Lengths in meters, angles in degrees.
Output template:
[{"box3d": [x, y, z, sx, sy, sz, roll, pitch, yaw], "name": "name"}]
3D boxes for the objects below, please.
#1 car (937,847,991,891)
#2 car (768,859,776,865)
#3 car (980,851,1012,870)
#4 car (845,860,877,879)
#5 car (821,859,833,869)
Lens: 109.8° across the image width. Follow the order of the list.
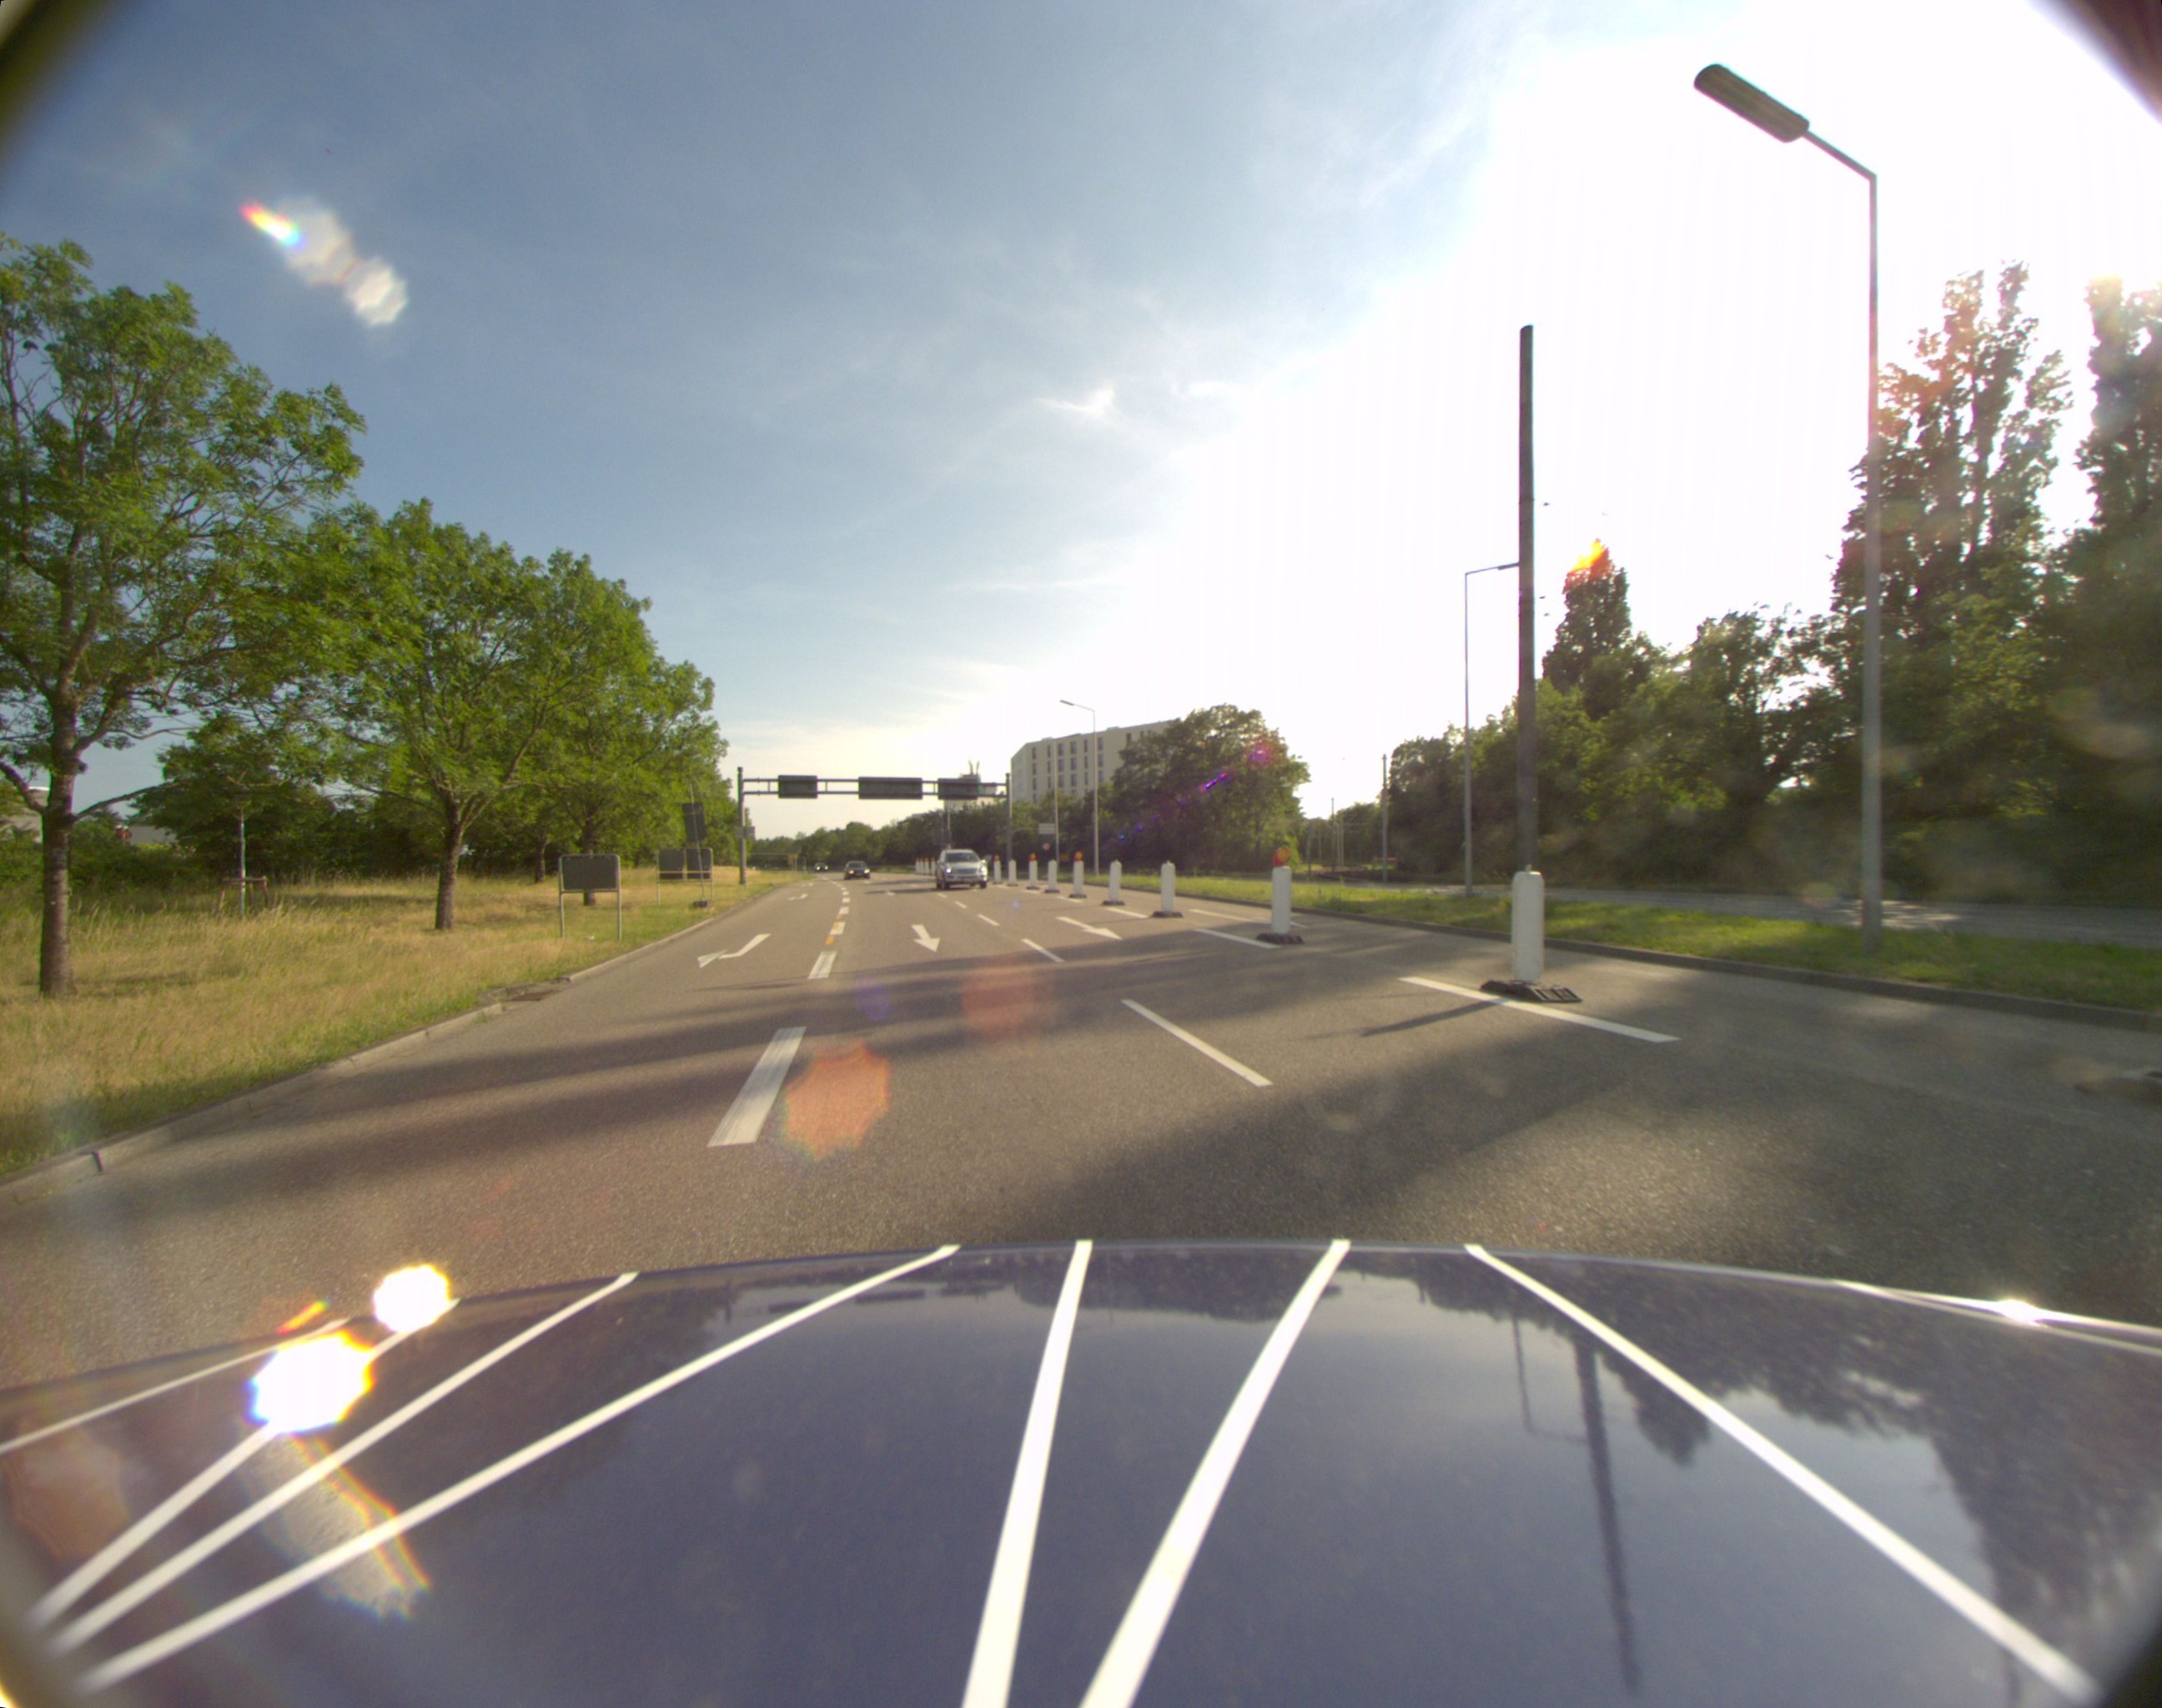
[{"box3d": [-5.495, 0.647, 35.244, 1.903, 1.813, 4.349, -3, 1, -16], "name": "car"}, {"box3d": [-93.785, 2.338, 230.773, 1.793, 1.796, 4.114, -1, 0, -29], "name": "car"}, {"box3d": [-9.545, 0.719, 85.023, 2.002, 2.002, 5.347, -1, 0, -24], "name": "car"}, {"box3d": [-17.348, 1.205, 59.821, 1.904, 1.377, 4.347, -3, 1, -23], "name": "car"}, {"box3d": [-42.447, 1.667, 127.068, 1.897, 1.447, 3.903, -1, 1, -18], "name": "car"}]
